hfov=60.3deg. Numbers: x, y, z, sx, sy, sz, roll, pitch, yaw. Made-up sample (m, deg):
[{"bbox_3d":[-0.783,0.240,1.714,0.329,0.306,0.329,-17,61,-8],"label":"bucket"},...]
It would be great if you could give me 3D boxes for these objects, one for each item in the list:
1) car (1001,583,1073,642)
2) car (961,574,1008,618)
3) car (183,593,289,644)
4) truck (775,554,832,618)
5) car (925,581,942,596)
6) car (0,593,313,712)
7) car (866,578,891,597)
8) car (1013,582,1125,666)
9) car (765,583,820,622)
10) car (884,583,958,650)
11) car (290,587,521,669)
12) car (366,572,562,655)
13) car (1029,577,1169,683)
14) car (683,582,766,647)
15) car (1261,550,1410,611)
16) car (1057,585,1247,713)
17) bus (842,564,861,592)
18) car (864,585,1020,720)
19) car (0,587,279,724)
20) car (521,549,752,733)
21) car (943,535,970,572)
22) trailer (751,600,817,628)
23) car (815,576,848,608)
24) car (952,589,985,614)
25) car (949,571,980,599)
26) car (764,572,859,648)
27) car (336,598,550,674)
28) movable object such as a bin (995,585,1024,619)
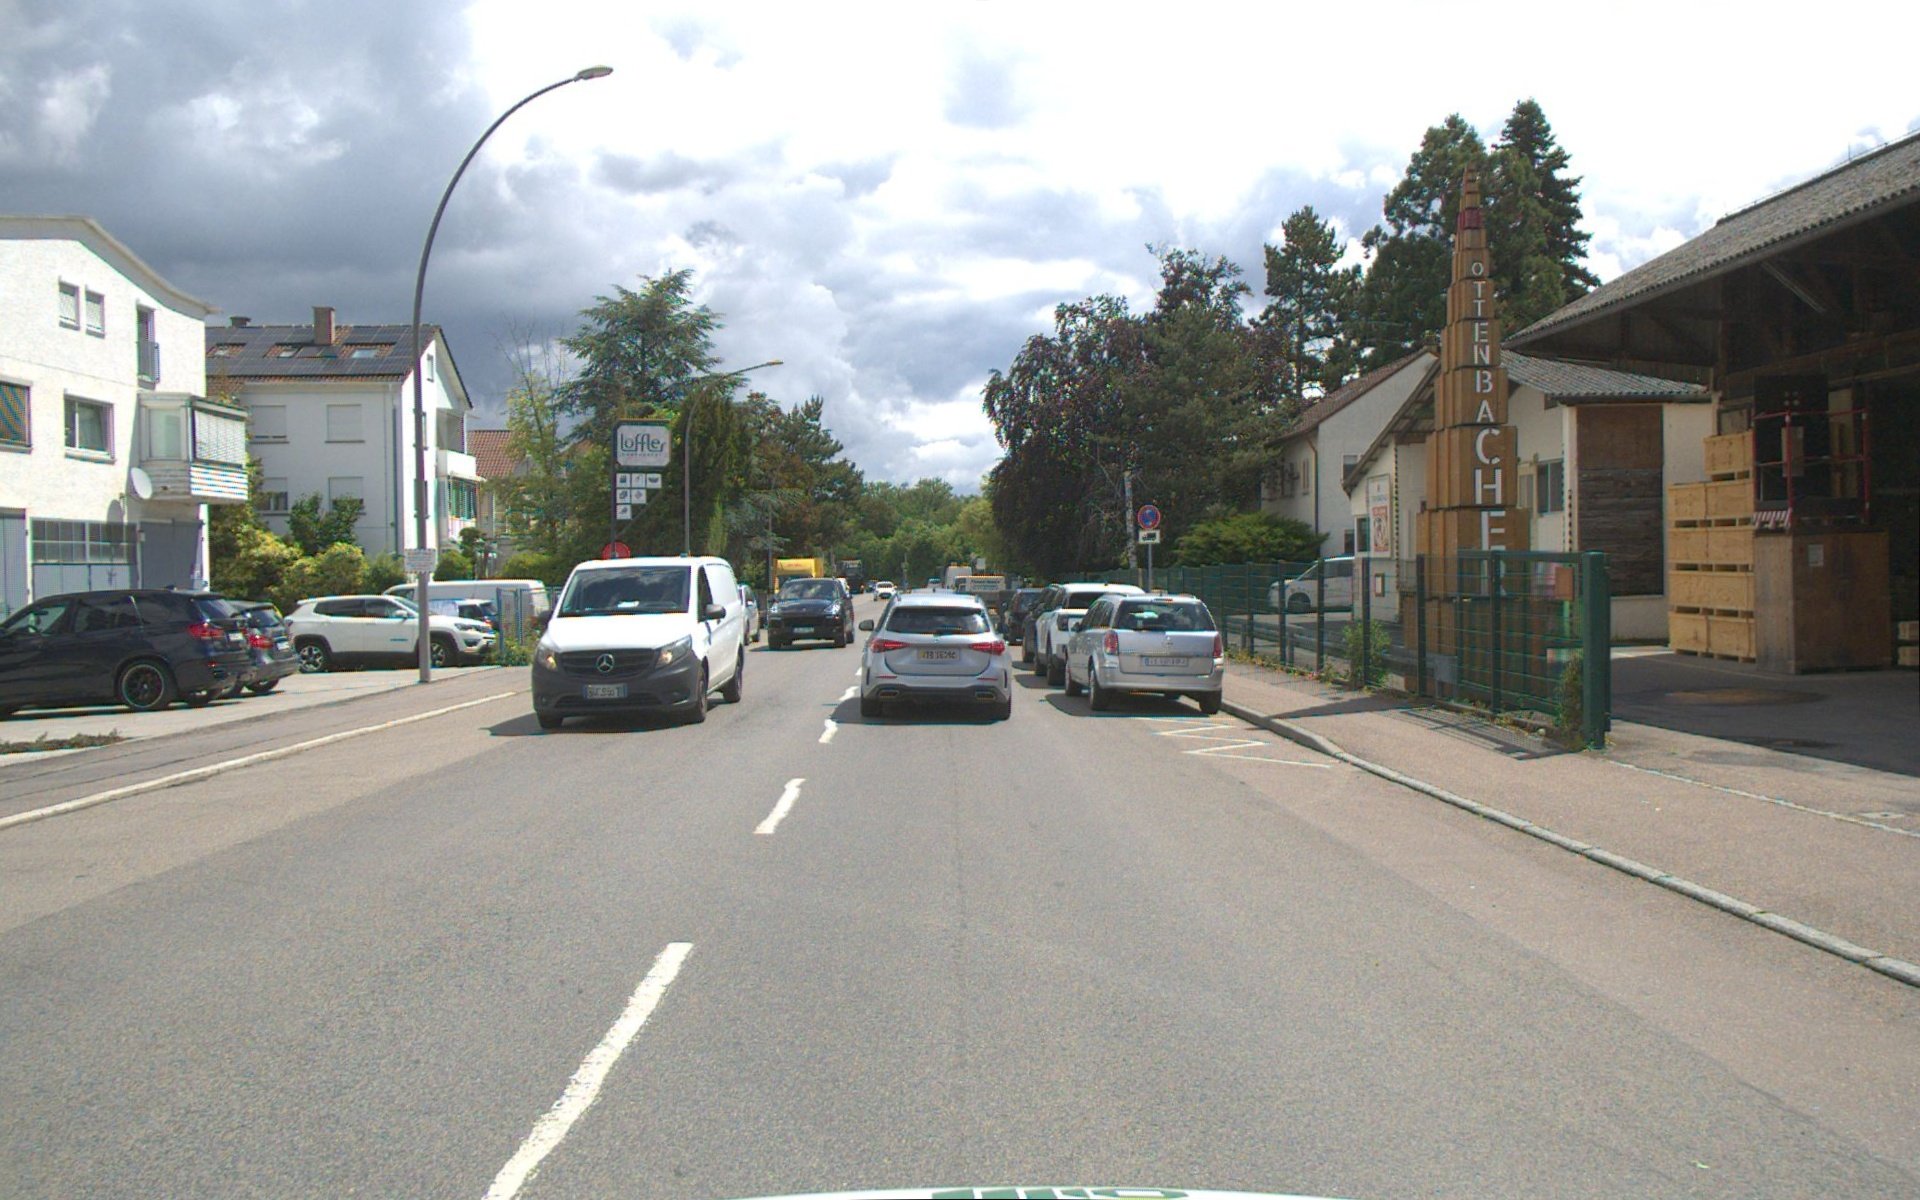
[{"bbox_3d":[2.038,0.306,44.598,1.655,1.476,3.847,-1,1,-1],"label":"car"},{"bbox_3d":[1.171,-0.218,81.158,2.101,2.018,5.260,-1,1,-1],"label":"car"},{"bbox_3d":[-25.112,0.606,57.534,1.954,1.571,4.374,-1,1,-4],"label":"car"},{"bbox_3d":[-7.445,-0.705,79.246,2.033,2.863,7.077,-2,1,0],"label":"truck"},{"bbox_3d":[-2.806,-1.247,174.974,1.720,1.585,3.999,0,1,-2],"label":"car"},{"bbox_3d":[-12.979,0.811,26.576,4.375,1.531,1.824,-4,1,-5],"label":"car"},{"bbox_3d":[-6.605,-1.025,134.280,1.895,1.518,4.362,-2,1,-2],"label":"car"},{"bbox_3d":[2.150,0.432,33.645,1.656,1.579,4.081,-1,1,-5],"label":"car"},{"bbox_3d":[-7.076,0.064,70.096,2.033,1.503,4.455,-2,1,-3],"label":"car"},{"bbox_3d":[-1.032,0.380,41.697,1.721,1.585,3.998,0,1,-3],"label":"car"},{"bbox_3d":[-11.634,0.618,34.925,4.193,1.594,1.990,-1,-3,-1],"label":"car"},{"bbox_3d":[-12.017,0.355,40.296,4.194,1.868,1.990,-1,-3,-3],"label":"car"},{"bbox_3d":[2.234,0.427,27.678,1.756,1.579,4.572,-2,1,-2],"label":"car"},{"bbox_3d":[-6.460,0.365,45.740,1.755,1.631,4.362,-2,1,-2],"label":"car"},{"bbox_3d":[13.487,-0.713,59.614,4.913,1.963,2.001,-2,1,1],"label":"car"},{"bbox_3d":[2.461,0.577,22.245,1.756,1.475,4.360,-2,1,-4],"label":"car"},{"bbox_3d":[-13.447,-2.751,204.938,1.955,3.423,6.973,2,1,-7],"label":"bus"},{"bbox_3d":[-0.321,0.588,20.775,1.749,1.510,4.313,1,0,-3],"label":"car"},{"bbox_3d":[-12.637,0.807,23.986,4.537,1.661,2.196,-4,1,-5],"label":"car"},{"bbox_3d":[-3.765,0.394,20.183,1.953,1.921,5.115,-1,1,-2],"label":"car"},{"bbox_3d":[-0.267,-3.296,118.669,1.749,2.562,4.313,1,0,-3],"label":"car"},{"bbox_3d":[-6.754,0.521,64.113,2.183,0.941,5.945,0,1,-3],"label":"trailer"},{"bbox_3d":[-8.292,-0.562,107.072,1.895,1.952,4.362,-2,1,-2],"label":"car"},{"bbox_3d":[0.520,0.090,101.183,1.749,1.510,4.313,1,0,-3],"label":"car"},{"bbox_3d":[0.266,-0.940,106.107,1.749,1.745,4.313,1,0,-3],"label":"car"},{"bbox_3d":[-3.698,0.203,41.805,1.953,1.763,4.548,-2,1,0],"label":"car"},{"bbox_3d":[-11.514,0.824,37.081,4.194,1.594,1.990,-1,-3,-3],"label":"car"},{"bbox_3d":[1.959,0.068,65.670,1.062,1.293,1.380,1,1,-1],"label":"movable object such as a bin"}]
